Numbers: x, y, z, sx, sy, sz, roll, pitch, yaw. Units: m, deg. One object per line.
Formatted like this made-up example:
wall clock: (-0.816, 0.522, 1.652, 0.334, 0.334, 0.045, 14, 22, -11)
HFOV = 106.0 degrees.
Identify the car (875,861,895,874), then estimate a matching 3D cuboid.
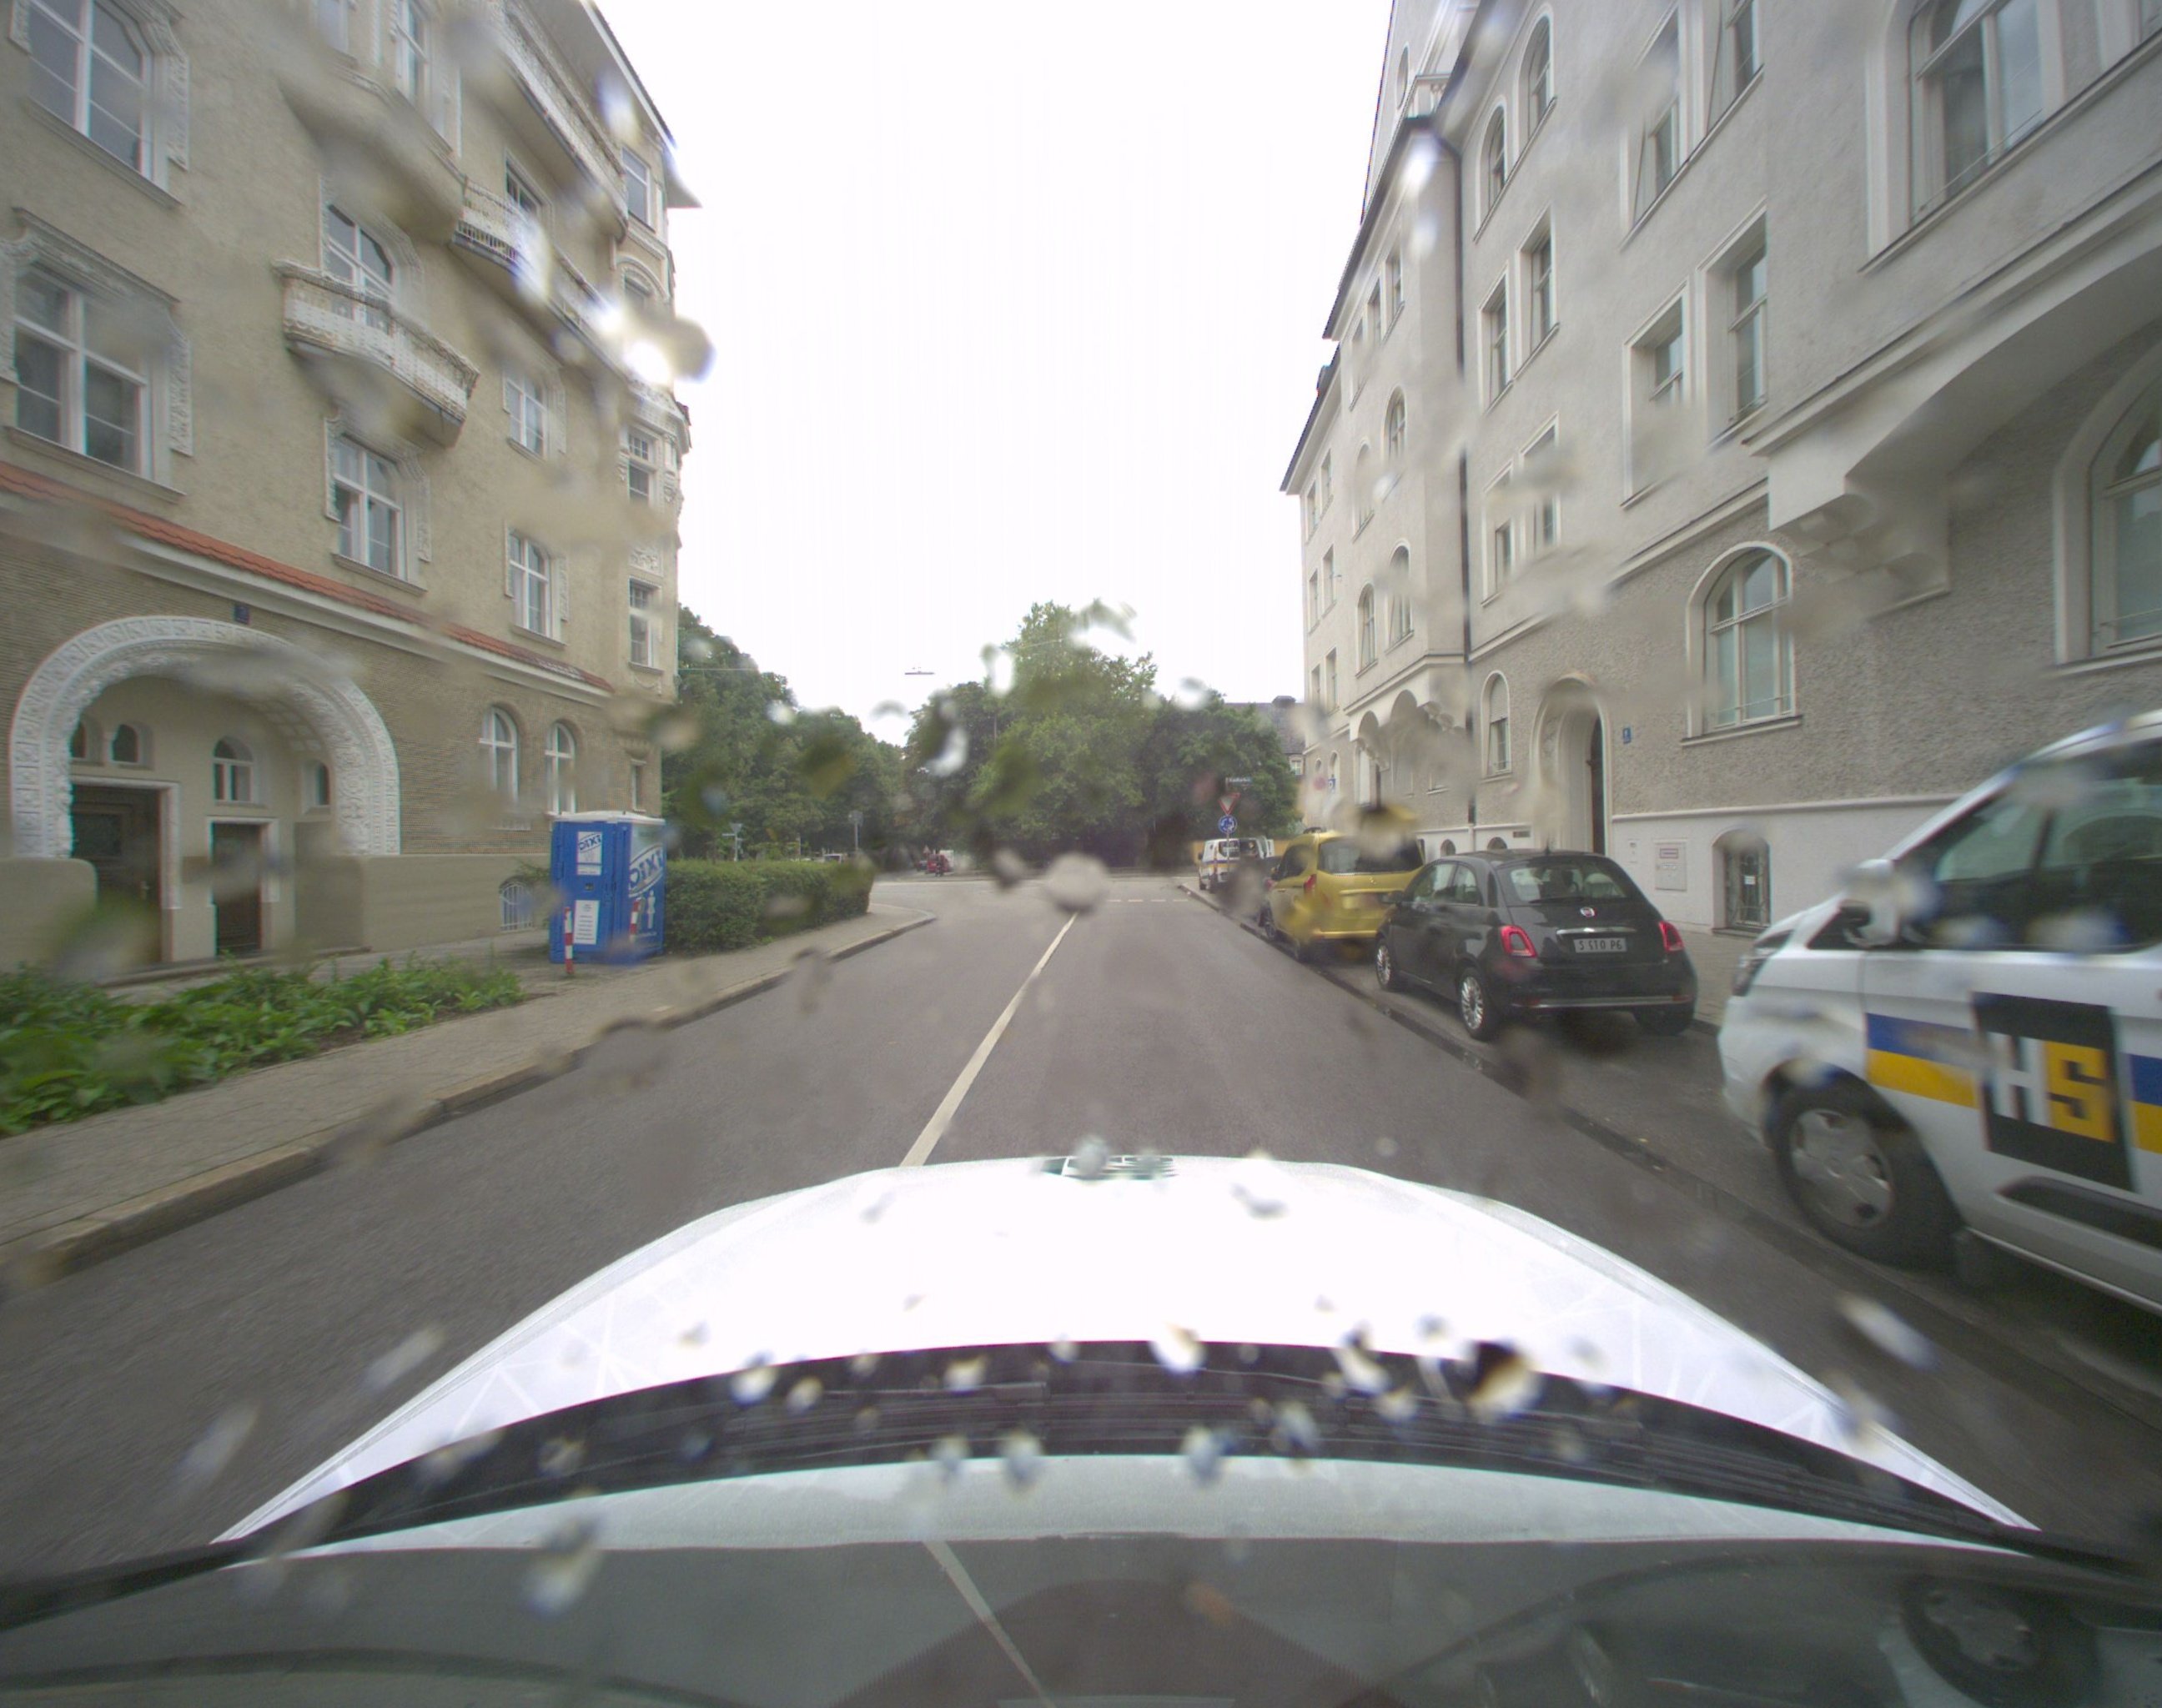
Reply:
car: (-25.371, 1.737, 105.539, 1.892, 1.571, 4.069, -1, 0, -4)

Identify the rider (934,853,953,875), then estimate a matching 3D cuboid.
rider: (-10.841, 0.787, 64.186, 1.075, 1.667, 1.142, -4, 0, 10)

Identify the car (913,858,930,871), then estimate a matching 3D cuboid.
car: (-19.459, 1.280, 99.543, 1.787, 1.492, 3.989, -1, 0, -8)

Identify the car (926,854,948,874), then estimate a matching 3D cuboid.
car: (-14.812, 0.996, 83.948, 2.040, 1.922, 4.433, -1, 0, -9)

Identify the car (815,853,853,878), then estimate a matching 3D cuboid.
car: (-23.234, 1.072, 76.805, 2.106, 2.251, 5.190, -1, 0, -3)

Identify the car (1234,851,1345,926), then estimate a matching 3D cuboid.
car: (4.512, 0.692, 18.191, 1.657, 1.457, 3.899, -1, 0, 3)

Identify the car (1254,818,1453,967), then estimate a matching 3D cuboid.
car: (3.951, 0.481, 12.726, 1.841, 1.853, 4.827, -1, 0, 5)

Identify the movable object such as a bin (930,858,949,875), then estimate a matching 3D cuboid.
movable object such as a bin: (-10.974, 0.985, 63.311, 1.071, 1.267, 1.090, -4, 0, 10)

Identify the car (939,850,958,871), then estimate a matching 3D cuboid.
car: (-16.208, 0.782, 99.714, 2.040, 2.558, 5.234, -1, 0, -8)

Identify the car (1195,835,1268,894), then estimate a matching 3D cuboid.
car: (5.591, 0.348, 30.860, 1.909, 1.962, 4.928, -2, 0, 1)

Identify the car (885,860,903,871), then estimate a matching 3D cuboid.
car: (-26.756, 1.642, 116.806, 1.892, 1.571, 4.069, -1, 0, -4)

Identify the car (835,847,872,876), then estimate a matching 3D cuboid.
car: (-24.008, 0.750, 86.149, 2.329, 2.922, 6.572, -1, 0, -3)

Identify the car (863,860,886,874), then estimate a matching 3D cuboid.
car: (-24.620, 1.568, 97.011, 1.892, 1.538, 4.069, -1, 0, -4)

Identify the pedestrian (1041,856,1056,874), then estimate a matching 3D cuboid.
pedestrian: (-2.179, 0.747, 54.135, 0.807, 1.189, 0.921, -1, 0, 8)

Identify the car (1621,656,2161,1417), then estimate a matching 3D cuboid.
car: (3.710, 0.445, 1.619, 1.953, 1.937, 4.993, -2, 0, 0)

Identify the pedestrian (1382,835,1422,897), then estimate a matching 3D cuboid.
pedestrian: (9.321, 0.339, 23.645, 0.697, 1.737, 0.727, -2, -4, -43)

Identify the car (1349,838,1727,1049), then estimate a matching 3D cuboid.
car: (3.903, 0.646, 7.759, 1.625, 1.484, 3.787, -2, 0, 3)
